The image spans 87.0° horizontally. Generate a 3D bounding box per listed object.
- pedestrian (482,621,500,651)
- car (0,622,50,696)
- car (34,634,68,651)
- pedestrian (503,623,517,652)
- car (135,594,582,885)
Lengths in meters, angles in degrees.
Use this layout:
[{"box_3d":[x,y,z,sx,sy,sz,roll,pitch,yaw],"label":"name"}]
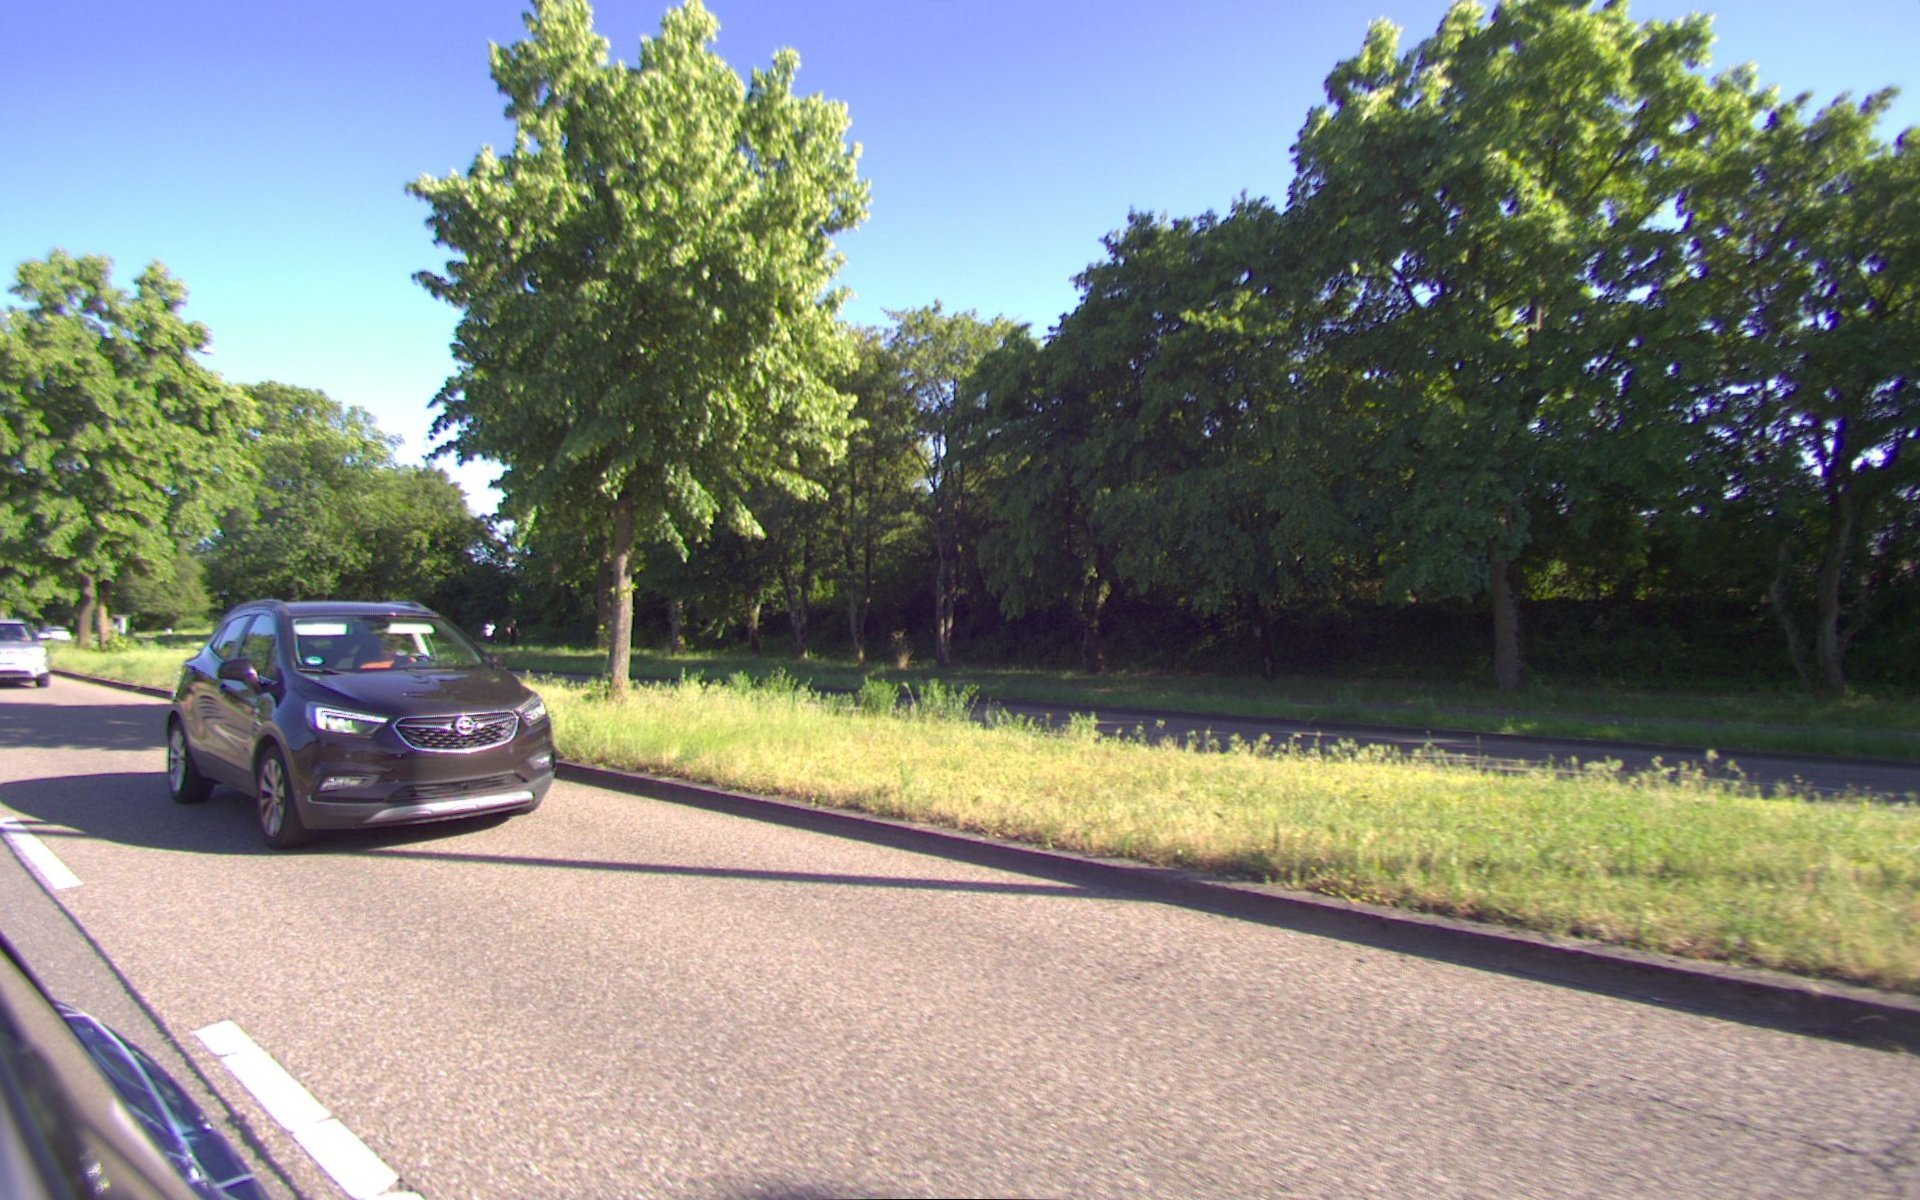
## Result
[{"box_3d":[-27.092,2.055,58.468,0.679,1.672,0.674,0,1,39],"label":"pedestrian"},{"box_3d":[-22.702,1.320,23.558,4.104,1.622,1.766,-1,-2,41],"label":"car"},{"box_3d":[-82.941,3.876,92.311,4.343,1.468,1.708,-2,-5,41],"label":"car"},{"box_3d":[-26.367,2.190,59.295,0.540,1.672,0.554,-1,0,41],"label":"pedestrian"},{"box_3d":[-4.836,0.843,7.842,4.415,1.644,1.678,-1,-2,41],"label":"car"}]
